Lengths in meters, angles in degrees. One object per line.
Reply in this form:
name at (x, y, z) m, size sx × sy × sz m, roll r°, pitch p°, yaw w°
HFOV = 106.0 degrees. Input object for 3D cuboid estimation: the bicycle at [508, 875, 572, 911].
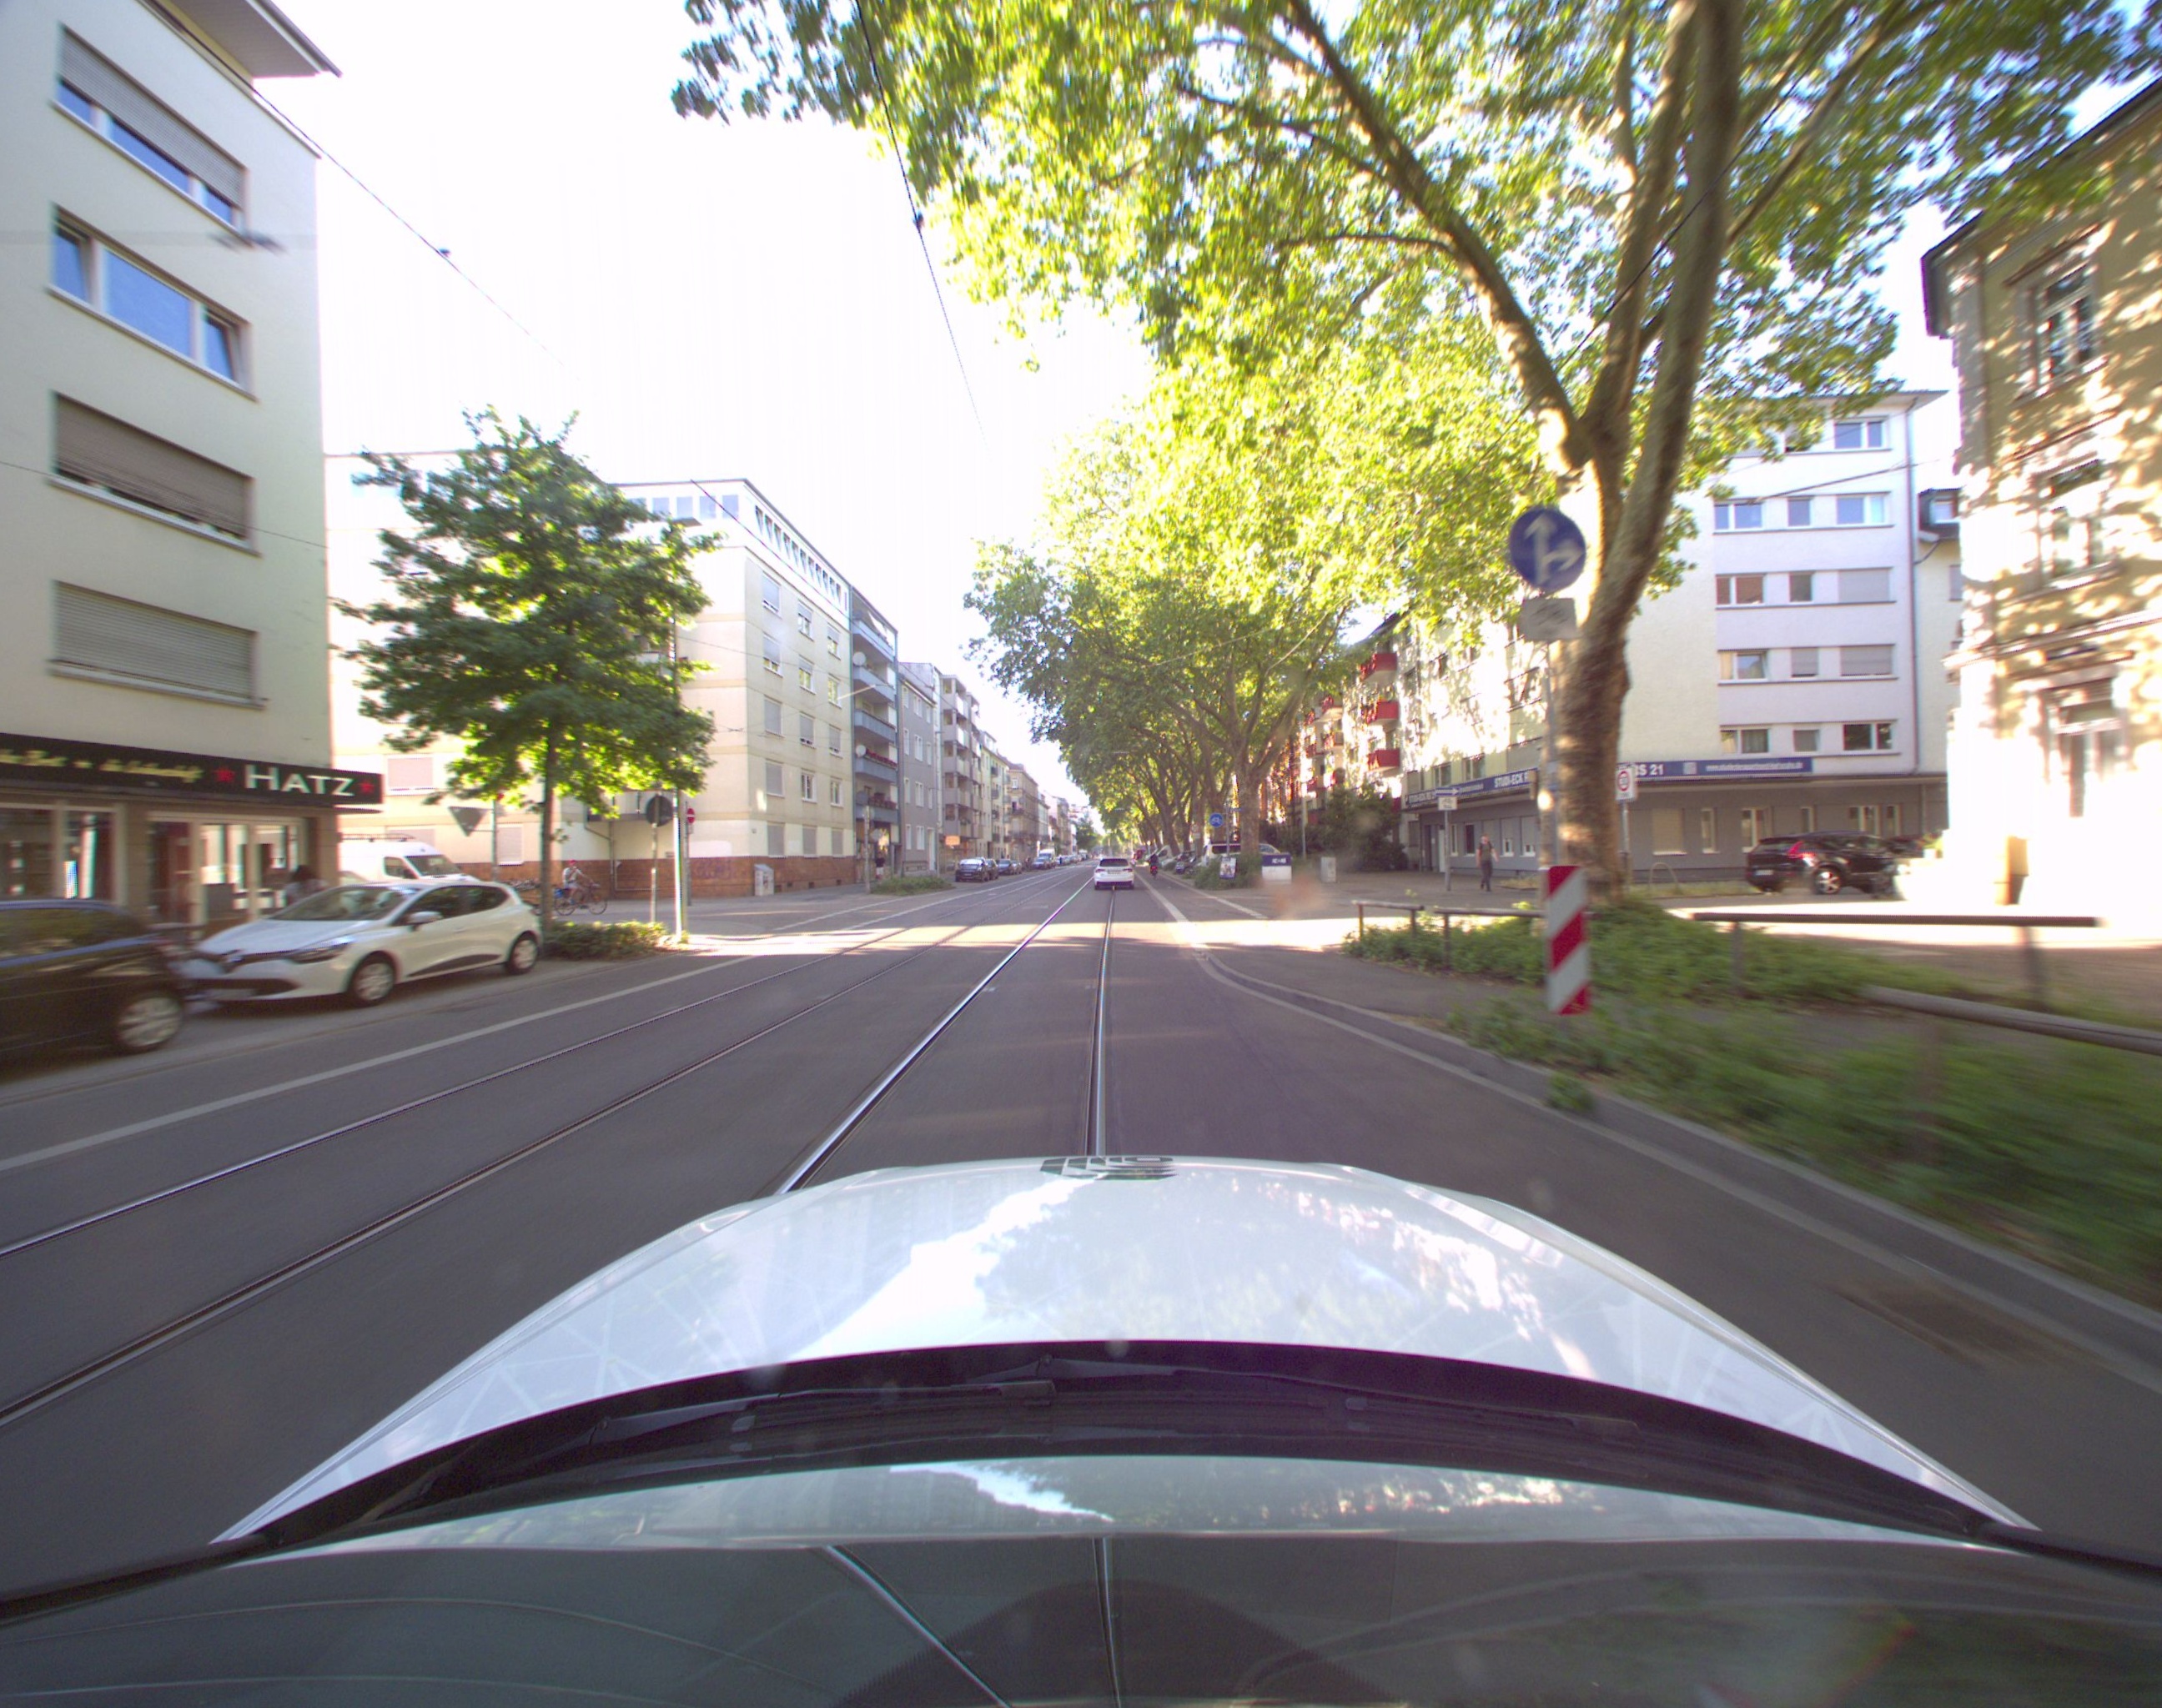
bicycle at (-19.191, 1.388, 28.919) m, size 1.747 × 1.156 × 0.583 m, roll -3°, pitch -1°, yaw -7°

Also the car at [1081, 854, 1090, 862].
car at (1.202, 1.011, 215.705) m, size 1.985 × 2.013 × 4.003 m, roll -2°, pitch 0°, yaw 2°

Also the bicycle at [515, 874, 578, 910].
bicycle at (-19.195, 1.370, 29.278) m, size 1.747 × 1.156 × 0.583 m, roll -3°, pitch -1°, yaw -7°

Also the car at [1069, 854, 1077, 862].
car at (-2.100, 1.078, 213.337) m, size 1.985 × 2.013 × 4.003 m, roll -2°, pitch 0°, yaw 2°

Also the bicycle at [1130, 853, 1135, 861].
bicycle at (7.209, 0.374, 114.509) m, size 0.647 × 1.071 × 1.583 m, roll -2°, pitch 0°, yaw 1°

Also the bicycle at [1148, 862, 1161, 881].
bicycle at (4.416, 1.042, 49.176) m, size 0.678 × 1.071 × 1.782 m, roll -2°, pitch 0°, yaw 3°

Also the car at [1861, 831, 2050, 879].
car at (28.517, 0.006, 26.652) m, size 4.119 × 1.422 × 2.000 m, roll -1°, pitch 2°, yaw -1°

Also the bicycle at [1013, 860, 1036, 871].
bicycle at (-6.151, 1.266, 89.016) m, size 2.520 × 1.172 × 0.718 m, roll 0°, pitch -2°, yaw -4°

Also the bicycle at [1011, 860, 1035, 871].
bicycle at (-6.252, 1.261, 88.136) m, size 2.544 × 1.172 × 0.873 m, roll 2°, pitch -2°, yaw -38°

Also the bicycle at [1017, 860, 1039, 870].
bicycle at (-6.020, 1.278, 92.794) m, size 2.519 × 1.172 × 0.718 m, roll 0°, pitch -2°, yaw -4°

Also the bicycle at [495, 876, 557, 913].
bicycle at (-19.264, 1.395, 28.281) m, size 1.740 × 1.156 × 0.585 m, roll -3°, pitch -1°, yaw 6°

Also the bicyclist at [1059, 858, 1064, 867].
bicyclist at (-2.654, 1.133, 110.467) m, size 0.595 × 1.286 × 0.917 m, roll -2°, pitch 0°, yaw 0°

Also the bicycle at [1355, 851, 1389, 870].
bicycle at (17.805, 0.389, 49.875) m, size 1.786 × 1.041 × 0.617 m, roll -3°, pitch -1°, yaw -2°

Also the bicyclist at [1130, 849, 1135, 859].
bicyclist at (7.204, 0.049, 114.493) m, size 0.647 × 1.344 × 0.934 m, roll -2°, pitch 0°, yaw 0°

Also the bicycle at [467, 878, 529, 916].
bicycle at (-19.634, 1.425, 27.429) m, size 1.612 × 1.156 × 0.577 m, roll -3°, pitch -1°, yaw -42°

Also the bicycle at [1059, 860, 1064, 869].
bicycle at (-2.646, 1.425, 110.380) m, size 0.603 × 1.071 × 1.583 m, roll -2°, pitch 0°, yaw 0°

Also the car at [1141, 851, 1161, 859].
car at (14.079, 0.196, 163.872) m, size 4.034 × 1.540 × 2.001 m, roll -2°, pitch 0°, yaw 2°

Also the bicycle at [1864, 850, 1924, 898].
bicycle at (17.914, 0.426, 17.932) m, size 1.842 × 1.007 × 0.563 m, roll 0°, pitch -1°, yaw -33°

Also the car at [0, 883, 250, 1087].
car at (-9.125, 1.028, 6.151) m, size 1.710 × 1.464 × 3.993 m, roll 2°, pitch -1°, yaw -5°

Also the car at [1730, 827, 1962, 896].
car at (19.477, 0.179, 20.876) m, size 4.120 × 1.593 × 1.999 m, roll -1°, pitch 0°, yaw -2°

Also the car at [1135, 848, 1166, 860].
car at (14.336, 0.034, 168.562) m, size 6.110 × 2.282 × 2.529 m, roll -2°, pitch 0°, yaw 0°

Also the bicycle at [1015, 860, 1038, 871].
bicycle at (-6.107, 1.268, 90.891) m, size 2.519 × 1.172 × 0.718 m, roll 0°, pitch -2°, yaw -3°

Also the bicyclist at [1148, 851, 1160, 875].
bicyclist at (4.408, 0.554, 49.309) m, size 0.676 × 1.443 × 1.048 m, roll -2°, pitch 0°, yaw 3°

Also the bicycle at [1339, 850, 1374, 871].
bicycle at (16.897, 0.385, 49.972) m, size 1.941 × 1.156 × 0.571 m, roll -3°, pitch -1°, yaw -5°

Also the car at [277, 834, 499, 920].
car at (-23.956, 0.769, 28.311) m, size 5.788 × 2.723 × 2.170 m, roll -2°, pitch 0°, yaw 0°

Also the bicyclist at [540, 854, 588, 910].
bicyclist at (-16.264, 0.876, 25.628) m, size 0.867 × 1.704 × 0.909 m, roll -1°, pitch 0°, yaw 5°

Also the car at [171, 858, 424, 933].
car at (-21.554, 1.106, 22.575) m, size 4.862 × 1.822 × 2.037 m, roll -2°, pitch 0°, yaw -2°

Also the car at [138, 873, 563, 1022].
car at (-9.117, 1.048, 10.814) m, size 1.708 × 1.464 × 4.374 m, roll 2°, pitch -1°, yaw -1°

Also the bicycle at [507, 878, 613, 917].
bicycle at (-16.370, 1.357, 25.628) m, size 2.782 × 1.157 × 0.923 m, roll -1°, pitch 0°, yaw 5°

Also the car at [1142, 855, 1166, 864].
car at (12.890, 0.936, 144.371) m, size 4.034 × 1.540 × 2.001 m, roll -2°, pitch 0°, yaw 2°
